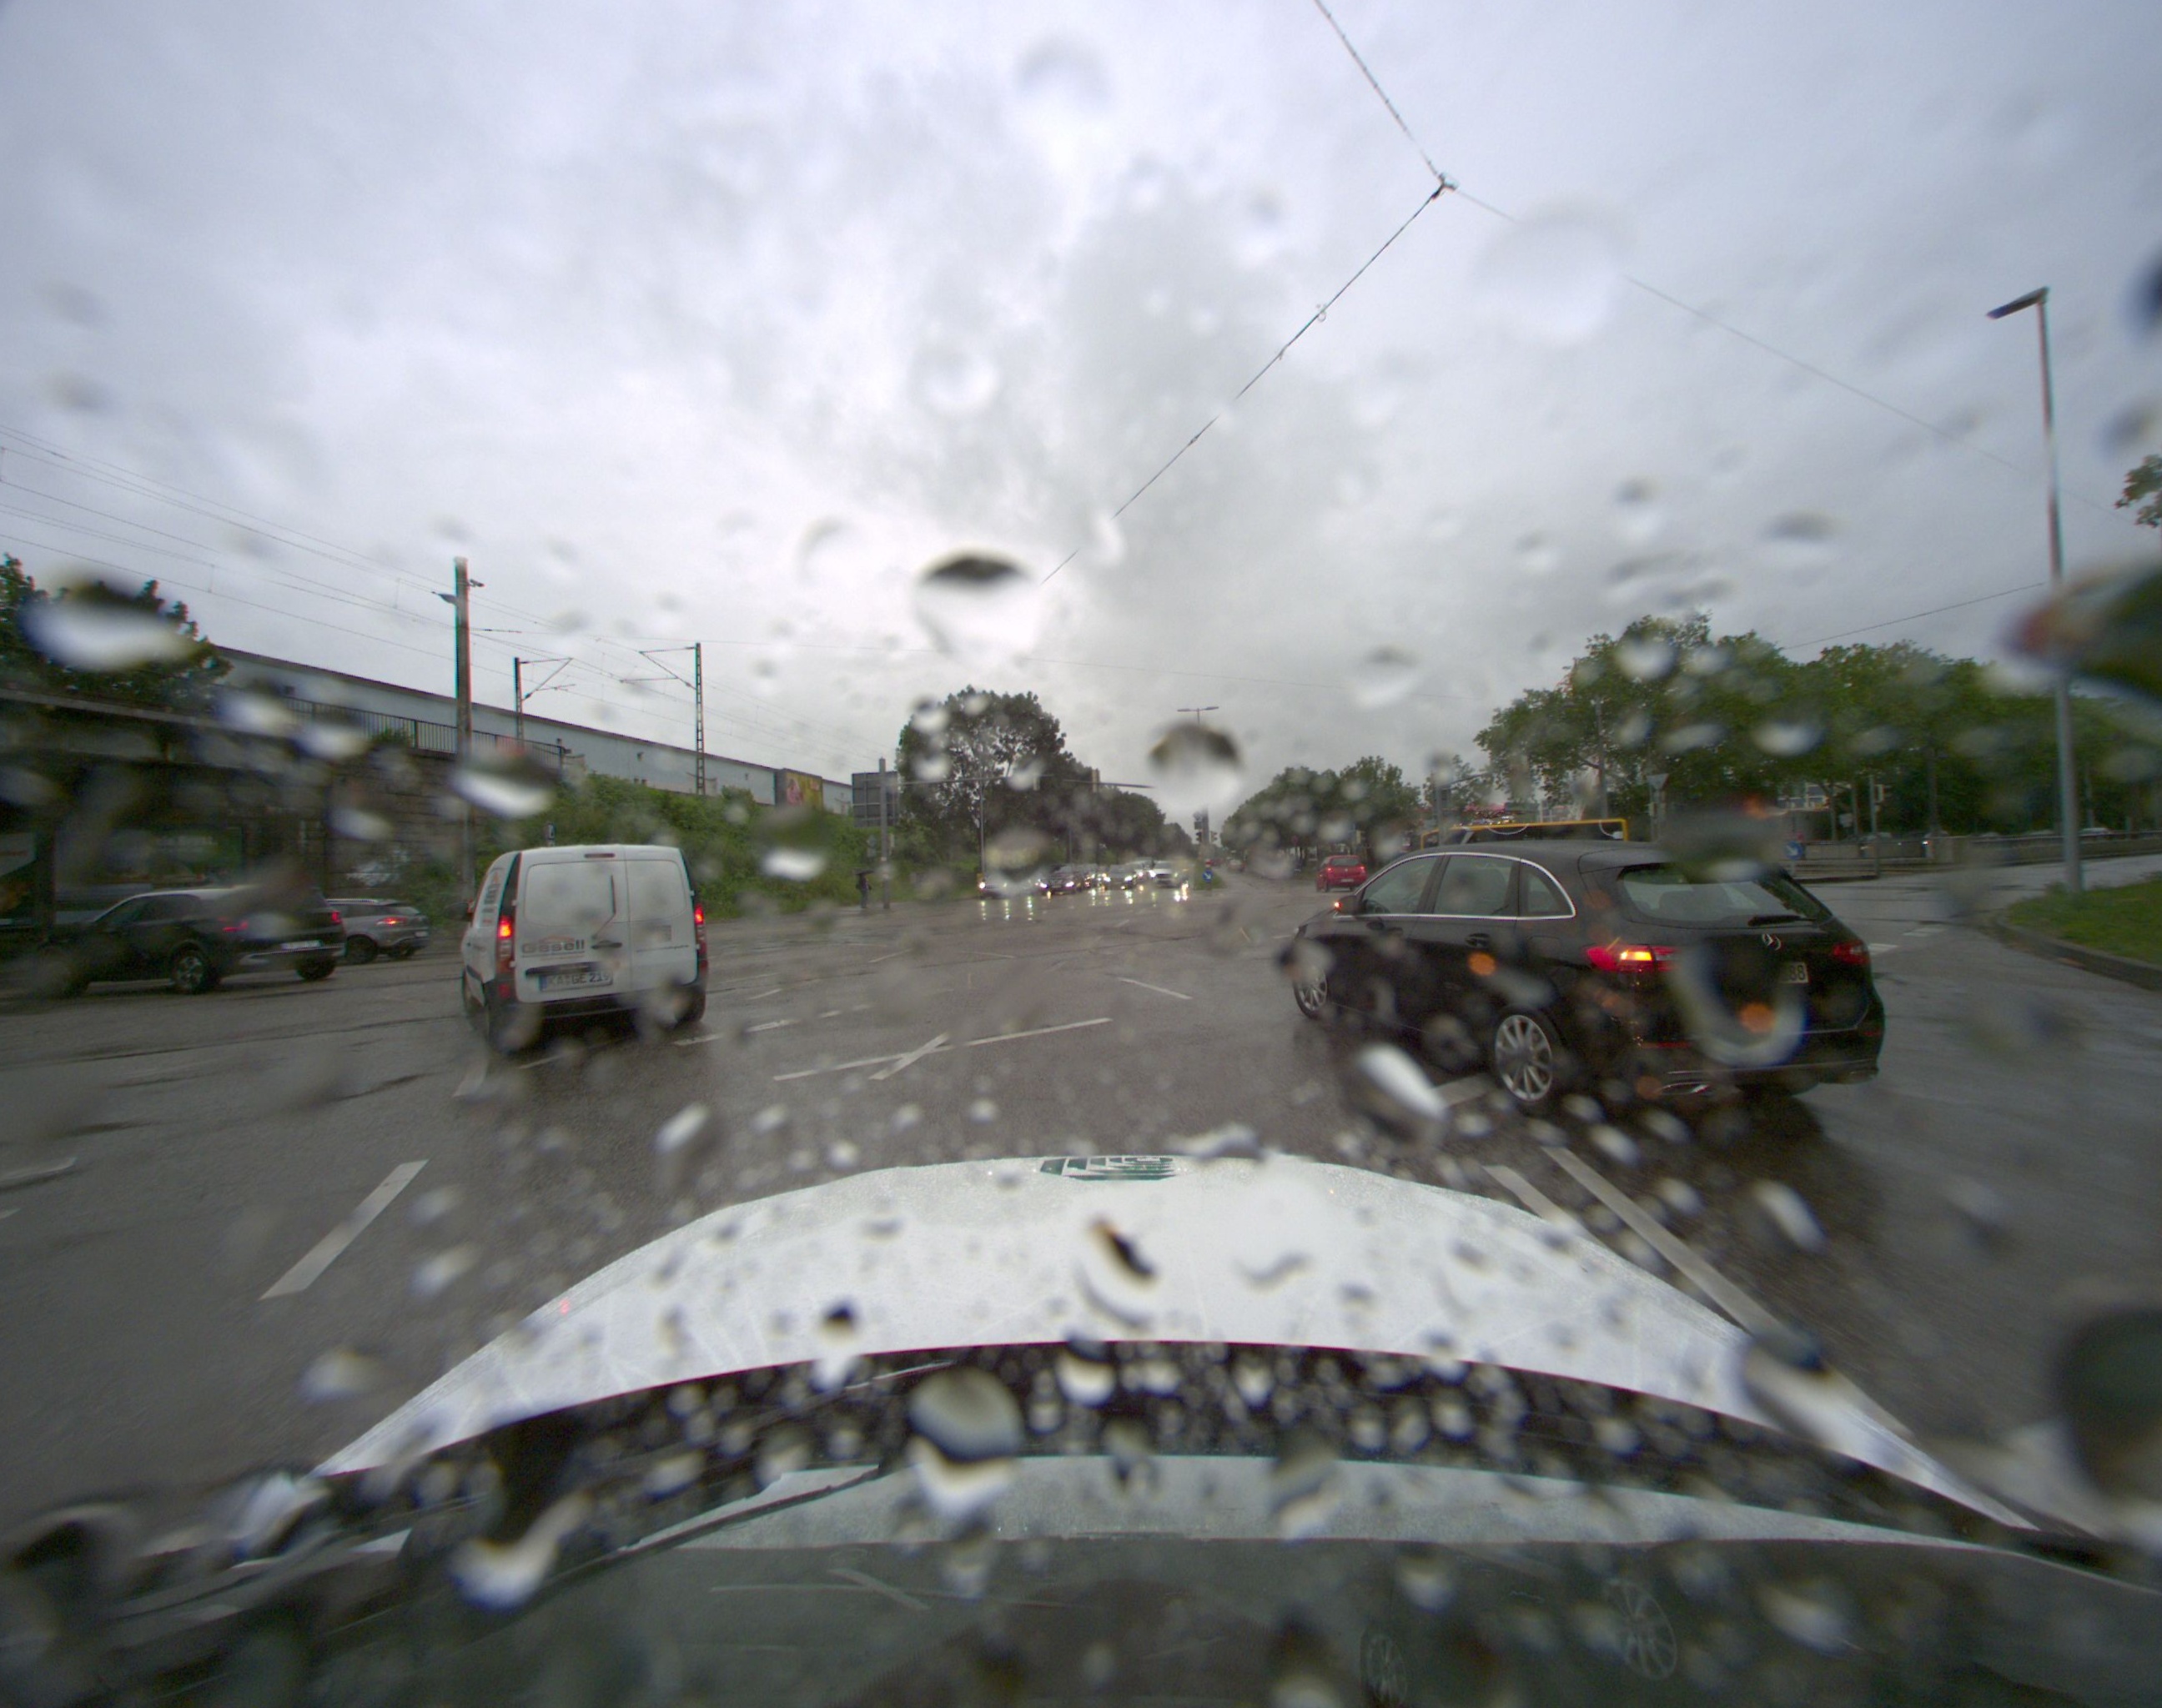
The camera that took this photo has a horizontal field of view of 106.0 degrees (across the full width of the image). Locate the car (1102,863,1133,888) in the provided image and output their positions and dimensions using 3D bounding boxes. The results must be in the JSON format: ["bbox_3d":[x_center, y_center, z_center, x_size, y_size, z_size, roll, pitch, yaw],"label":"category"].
[{"bbox_3d":[2.246,1.316,50.864,1.820,1.358,4.002,-2,0,2],"label":"car"}]

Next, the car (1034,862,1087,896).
[{"bbox_3d":[-1.079,1.345,45.252,2.009,1.657,4.074,-3,0,11],"label":"car"}]

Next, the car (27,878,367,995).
[{"bbox_3d":[-14.241,1.303,13.227,3.960,1.609,1.930,-2,-1,12],"label":"car"}]

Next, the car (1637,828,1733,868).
[{"bbox_3d":[30.680,-0.303,41.357,4.759,1.849,2.058,-2,-1,-29],"label":"car"}]

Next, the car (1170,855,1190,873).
[{"bbox_3d":[10.409,1.021,85.650,1.929,1.720,4.006,-2,0,5],"label":"car"}]

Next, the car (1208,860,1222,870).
[{"bbox_3d":[22.386,1.861,136.120,1.986,1.618,4.008,-3,-1,7],"label":"car"}]

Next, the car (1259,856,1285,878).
[{"bbox_3d":[14.913,1.011,63.704,1.623,1.656,3.492,0,0,8],"label":"car"}]

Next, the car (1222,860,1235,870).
[{"bbox_3d":[25.508,1.865,140.673,1.986,1.618,4.008,-3,-1,7],"label":"car"}]

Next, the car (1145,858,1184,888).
[{"bbox_3d":[5.399,1.174,52.126,2.156,1.720,4.314,-2,0,10],"label":"car"}]

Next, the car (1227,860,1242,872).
[{"bbox_3d":[22.951,1.732,121.500,1.985,1.618,4.009,-3,-1,8],"label":"car"}]

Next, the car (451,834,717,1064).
[{"bbox_3d":[-5.349,0.794,8.513,1.771,1.777,3.953,-3,0,-40],"label":"car"}]

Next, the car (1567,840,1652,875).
[{"bbox_3d":[27.884,0.176,42.923,4.354,1.651,1.915,-2,-1,-29],"label":"car"}]

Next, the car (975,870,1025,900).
[{"bbox_3d":[-4.289,1.624,43.751,1.883,1.349,4.007,-3,0,6],"label":"car"}]

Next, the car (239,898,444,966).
[{"bbox_3d":[-16.796,1.745,18.593,3.230,1.283,1.689,-2,-1,6],"label":"car"}]

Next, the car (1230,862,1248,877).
[{"bbox_3d":[17.938,1.711,92.555,1.832,1.618,4.010,-1,-1,9],"label":"car"}]

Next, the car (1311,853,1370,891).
[{"bbox_3d":[10.666,0.715,33.692,1.669,1.491,3.629,-1,-1,8],"label":"car"}]

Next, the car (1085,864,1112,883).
[{"bbox_3d":[1.403,1.515,64.272,1.818,1.358,4.006,-2,0,5],"label":"car"}]

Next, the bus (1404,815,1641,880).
[{"bbox_3d":[26.391,-0.346,49.316,12.186,3.268,3.280,-3,-1,6],"label":"bus"}]

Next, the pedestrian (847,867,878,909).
[{"bbox_3d":[-9.080,1.406,33.902,0.999,1.719,0.819,-2,-1,0],"label":"pedestrian"}]

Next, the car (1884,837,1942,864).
[{"bbox_3d":[62.946,-0.253,61.614,4.763,1.849,2.057,-2,-1,-32],"label":"car"}]

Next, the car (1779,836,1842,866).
[{"bbox_3d":[49.320,-0.226,55.045,4.766,1.849,2.055,-2,-1,-35],"label":"car"}]

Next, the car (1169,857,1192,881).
[{"bbox_3d":[7.714,1.125,63.346,1.592,1.720,4.006,-2,0,5],"label":"car"}]

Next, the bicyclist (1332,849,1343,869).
[{"bbox_3d":[24.442,0.450,77.717,0.764,1.881,0.622,-3,-1,3],"label":"bicyclist"}]

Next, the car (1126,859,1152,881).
[{"bbox_3d":[4.826,1.307,67.868,1.834,1.720,4.009,-2,0,8],"label":"car"}]

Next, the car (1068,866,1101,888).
[{"bbox_3d":[0.267,1.571,56.953,1.818,1.358,4.007,-2,0,6],"label":"car"}]

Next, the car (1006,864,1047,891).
[{"bbox_3d":[-3.280,1.426,49.967,1.818,1.482,4.006,-2,0,5],"label":"car"}]

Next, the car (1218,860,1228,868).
[{"bbox_3d":[31.980,2.211,183.063,1.986,1.618,4.008,-3,-1,7],"label":"car"}]

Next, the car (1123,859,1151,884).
[{"bbox_3d":[4.277,1.281,61.557,1.855,1.720,4.007,-2,0,7],"label":"car"}]

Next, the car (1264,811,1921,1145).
[{"bbox_3d":[3.047,0.604,6.040,1.870,1.523,4.074,-2,0,-9],"label":"car"}]
